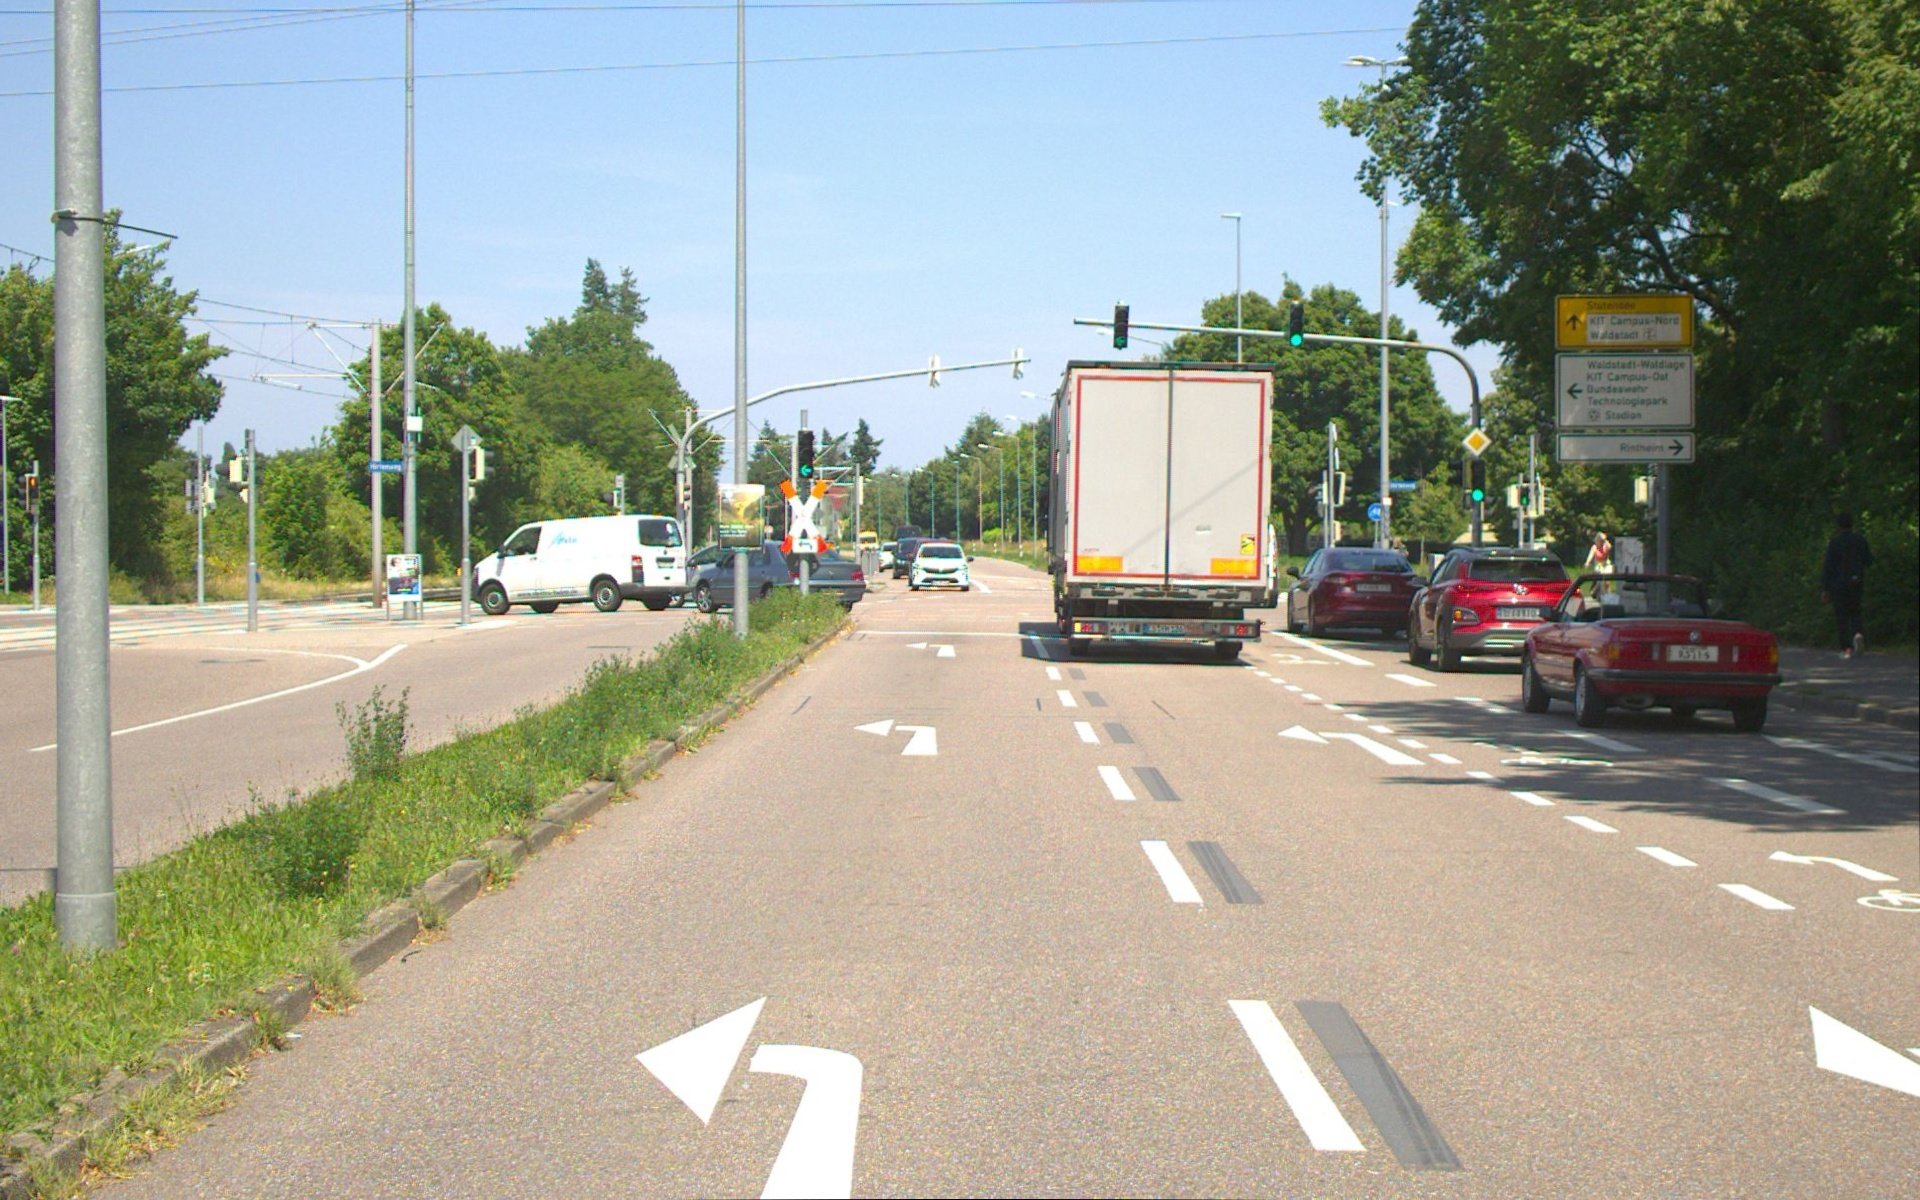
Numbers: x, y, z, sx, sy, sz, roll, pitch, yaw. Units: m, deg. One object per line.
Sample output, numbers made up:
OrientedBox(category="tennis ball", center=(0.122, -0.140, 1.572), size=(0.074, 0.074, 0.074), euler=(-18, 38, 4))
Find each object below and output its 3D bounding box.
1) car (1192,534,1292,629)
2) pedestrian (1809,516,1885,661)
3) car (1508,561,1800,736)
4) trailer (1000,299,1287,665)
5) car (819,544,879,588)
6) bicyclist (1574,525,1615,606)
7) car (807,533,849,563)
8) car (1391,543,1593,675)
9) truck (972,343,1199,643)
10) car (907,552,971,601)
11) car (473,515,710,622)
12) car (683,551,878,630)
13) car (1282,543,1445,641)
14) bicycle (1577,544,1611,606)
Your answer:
OrientedBox(category="car", center=(6.526, -0.453, 79.888), size=(1.891, 2.114, 3.887), euler=(1, 1, -1))
OrientedBox(category="pedestrian", center=(11.247, -0.152, 43.598), size=(0.753, 1.809, 0.693), euler=(-1, 1, -1))
OrientedBox(category="car", center=(6.140, 0.380, 30.876), size=(1.654, 1.392, 4.267), euler=(1, 1, -1))
OrientedBox(category="trailer", center=(2.297, -1.524, 46.440), size=(2.827, 4.406, 8.751), euler=(1, 1, -3))
OrientedBox(category="car", center=(-3.631, -1.131, 112.842), size=(1.858, 1.368, 4.156), euler=(1, 1, -1))
OrientedBox(category="bicyclist", center=(13.717, -0.751, 74.297), size=(0.802, 1.721, 0.678), euler=(-2, 0, 11))
OrientedBox(category="car", center=(-6.268, -2.470, 163.239), size=(1.858, 1.368, 4.156), euler=(1, 1, -1))
OrientedBox(category="car", center=(6.730, 0.078, 43.857), size=(1.858, 1.544, 3.887), euler=(1, 1, -1))
OrientedBox(category="truck", center=(1.867, -1.706, 54.934), size=(2.827, 4.329, 8.285), euler=(2, 2, -2))
OrientedBox(category="car", center=(-0.662, -0.715, 103.656), size=(1.858, 1.368, 4.156), euler=(1, 1, -1))
OrientedBox(category="car", center=(-7.694, -0.694, 71.636), size=(4.741, 2.104, 1.996), euler=(2, 2, 34))
OrientedBox(category="car", center=(-3.498, -0.202, 66.071), size=(1.892, 1.367, 4.430), euler=(1, 1, -30))
OrientedBox(category="car", center=(6.586, -0.164, 56.516), size=(1.993, 1.498, 4.503), euler=(0, 1, -2))
OrientedBox(category="bicycle", center=(13.729, -0.550, 74.406), size=(0.645, 1.300, 1.625), euler=(-2, 0, 11))
